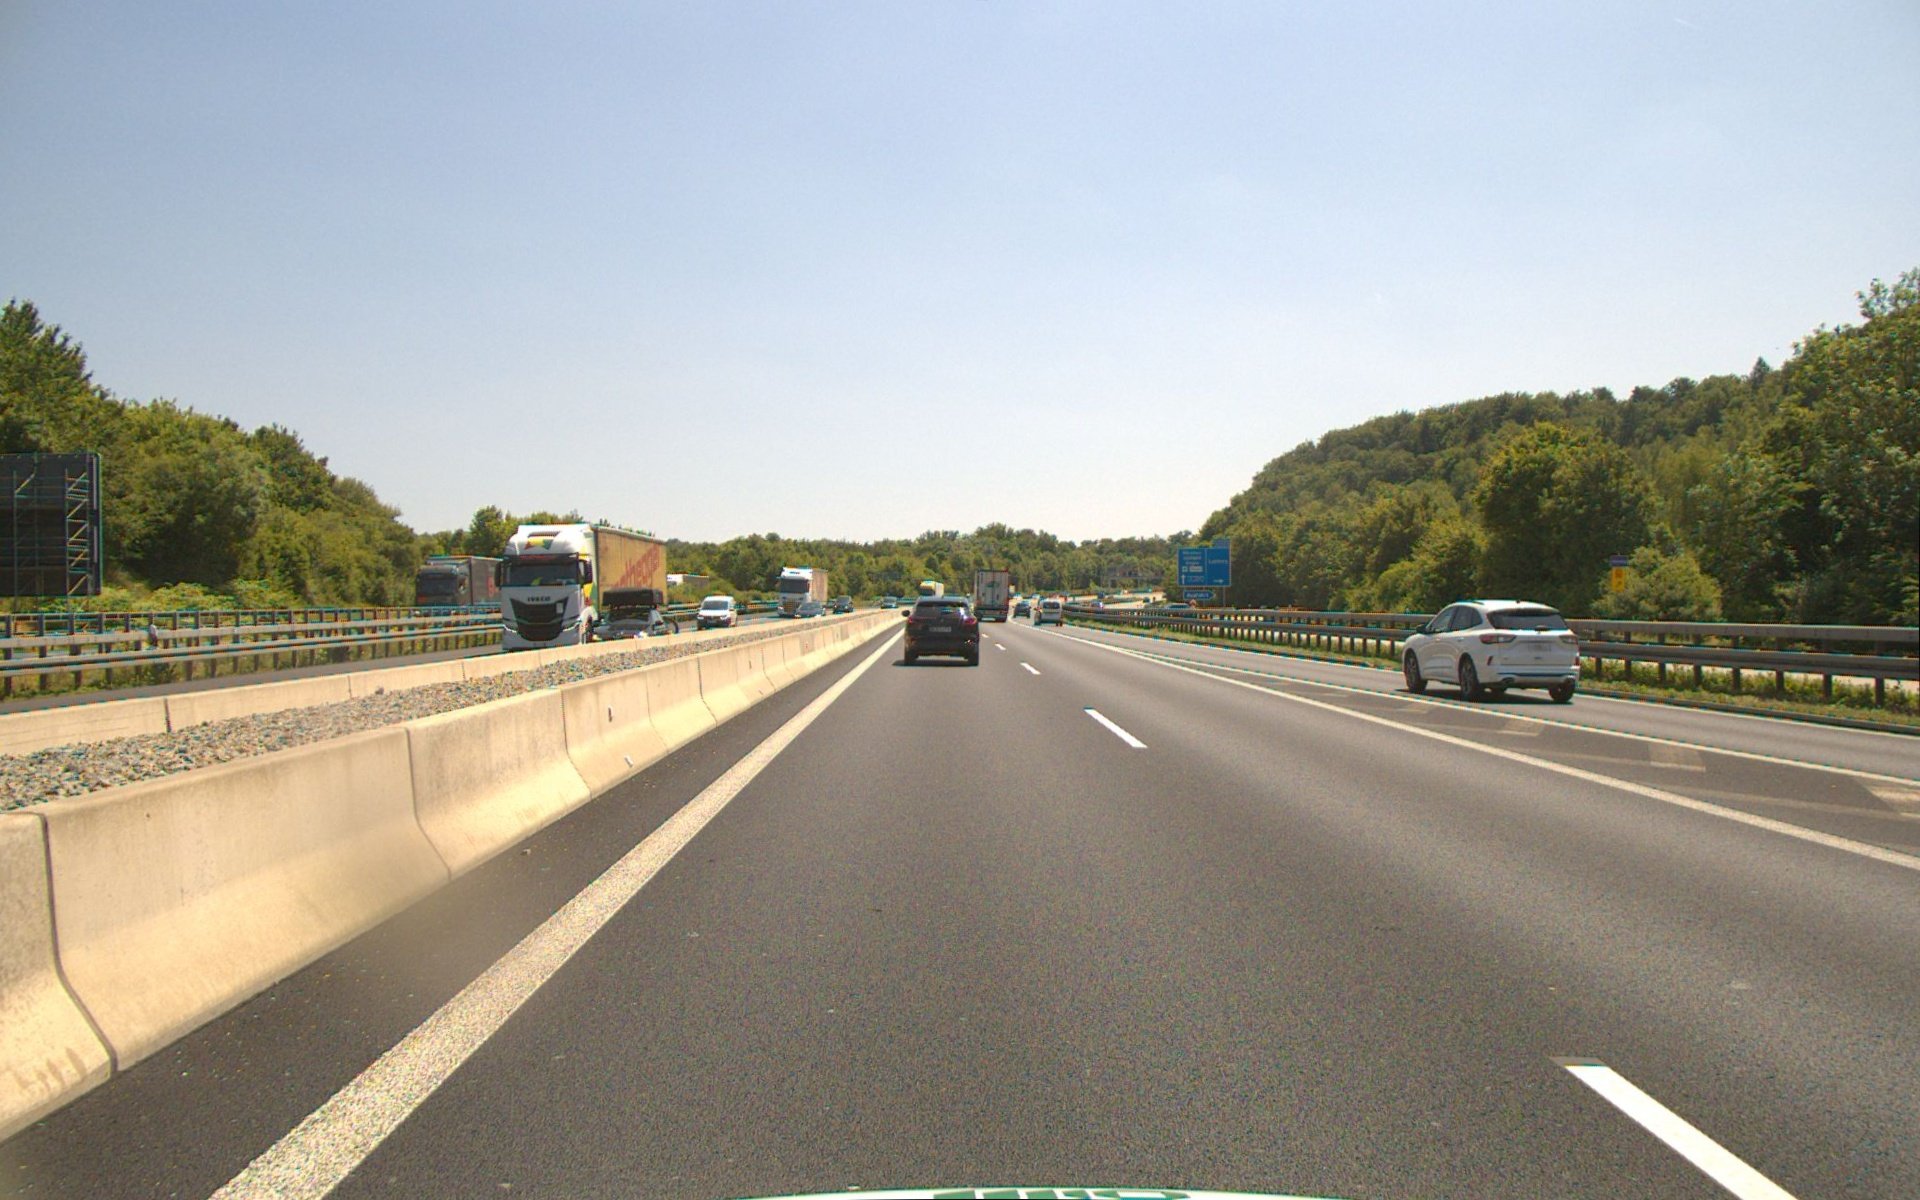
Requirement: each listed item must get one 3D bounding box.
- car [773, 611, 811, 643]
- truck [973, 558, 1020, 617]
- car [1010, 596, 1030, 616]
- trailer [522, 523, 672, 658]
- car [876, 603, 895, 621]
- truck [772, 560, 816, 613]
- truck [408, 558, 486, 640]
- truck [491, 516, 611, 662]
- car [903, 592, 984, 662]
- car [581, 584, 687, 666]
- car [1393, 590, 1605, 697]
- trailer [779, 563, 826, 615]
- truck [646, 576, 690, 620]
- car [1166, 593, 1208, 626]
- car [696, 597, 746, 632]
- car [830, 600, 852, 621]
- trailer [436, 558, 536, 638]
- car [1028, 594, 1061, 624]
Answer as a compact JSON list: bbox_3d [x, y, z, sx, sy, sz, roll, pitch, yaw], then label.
[{"bbox_3d":[-10.274,1.647,101.356,1.944,1.858,4.824,1,0,-2],"label":"car"},{"bbox_3d":[3.066,-0.930,134.586,2.968,4.496,12.025,1,0,5],"label":"truck"},{"bbox_3d":[6.447,0.636,179.206,1.953,2.049,3.999,1,0,-1],"label":"car"},{"bbox_3d":[-13.058,-0.273,60.967,2.613,4.348,13.811,1,0,-1],"label":"trailer"},{"bbox_3d":[-8.570,1.365,190.626,2.009,2.049,4.953,1,0,-1],"label":"car"},{"bbox_3d":[-13.086,-0.994,130.957,2.869,4.042,5.897,1,-1,-1],"label":"truck"},{"bbox_3d":[-28.542,-0.038,92.166,2.753,4.347,4.997,1,-1,-1],"label":"truck"},{"bbox_3d":[-12.852,-0.325,52.314,2.651,4.363,4.552,1,-1,-2],"label":"truck"},{"bbox_3d":[-0.441,0.619,40.165,1.744,1.605,3.997,-1,0,-3],"label":"car"},{"bbox_3d":[-8.782,0.634,44.984,1.879,2.049,5.345,-1,0,-1],"label":"car"},{"bbox_3d":[9.341,0.725,29.056,1.954,1.691,4.463,1,0,-5],"label":"car"},{"bbox_3d":[-13.165,-0.875,139.476,2.850,4.116,12.061,1,0,-1],"label":"trailer"},{"bbox_3d":[-28.648,-0.154,162.446,3.154,4.116,6.638,1,-1,-1],"label":"truck"},{"bbox_3d":[14.407,0.570,105.250,1.954,2.049,3.998,-1,0,-3],"label":"car"},{"bbox_3d":[-12.960,0.787,89.916,1.705,1.858,4.905,1,0,3],"label":"car"},{"bbox_3d":[-12.324,1.090,171.022,1.953,2.049,4.484,1,0,-1],"label":"car"},{"bbox_3d":[-28.646,-0.053,100.521,2.737,4.511,11.651,1,0,-1],"label":"trailer"},{"bbox_3d":[6.075,0.633,119.088,1.954,2.049,3.998,-2,0,-3],"label":"car"}]
